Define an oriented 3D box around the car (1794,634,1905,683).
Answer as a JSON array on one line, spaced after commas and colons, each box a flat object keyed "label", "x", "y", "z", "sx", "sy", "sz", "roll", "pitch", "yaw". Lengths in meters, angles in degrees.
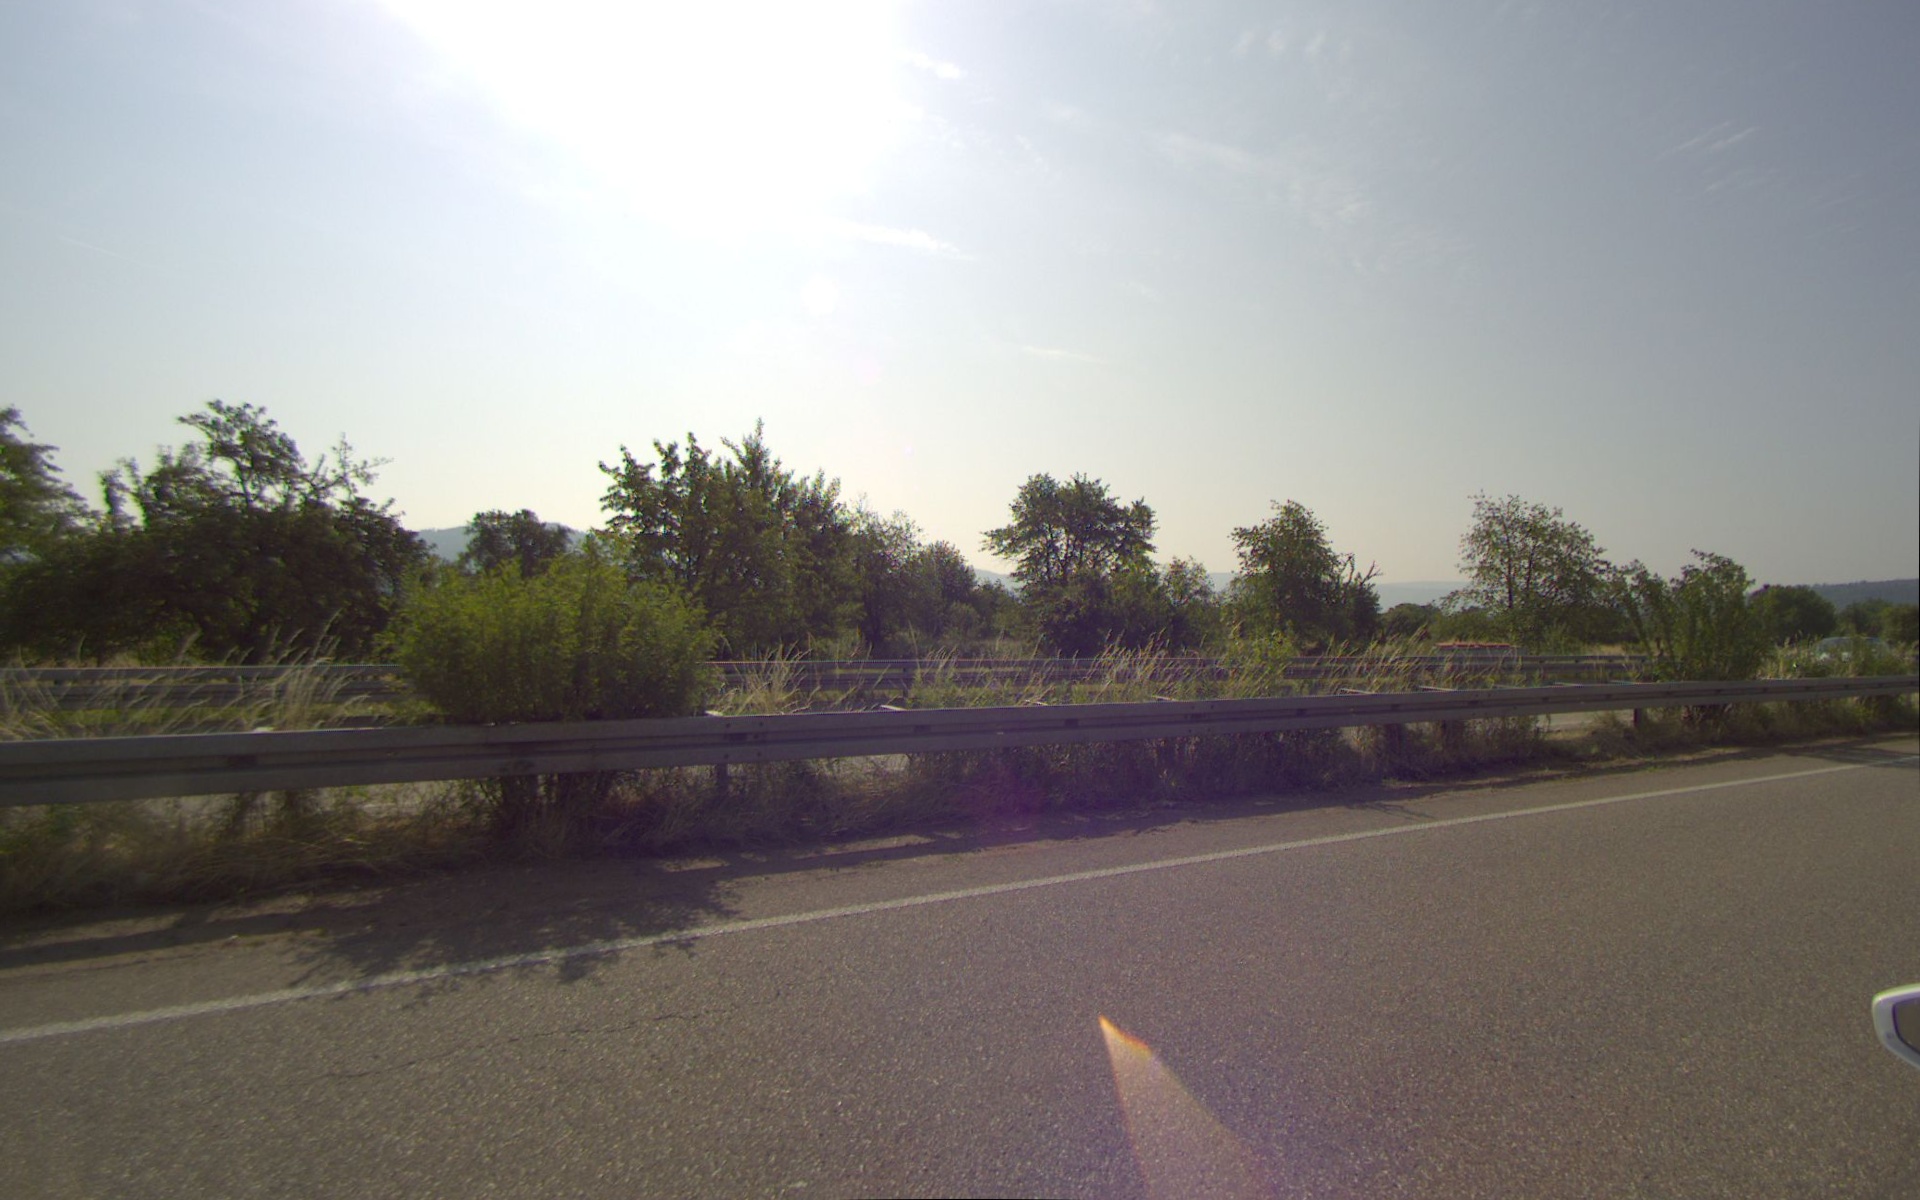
[{"label": "car", "x": 30.938, "y": 2.007, "z": 34.907, "sx": 4.139, "sy": 1.547, "sz": 1.684, "roll": 2, "pitch": 0, "yaw": -30}]
